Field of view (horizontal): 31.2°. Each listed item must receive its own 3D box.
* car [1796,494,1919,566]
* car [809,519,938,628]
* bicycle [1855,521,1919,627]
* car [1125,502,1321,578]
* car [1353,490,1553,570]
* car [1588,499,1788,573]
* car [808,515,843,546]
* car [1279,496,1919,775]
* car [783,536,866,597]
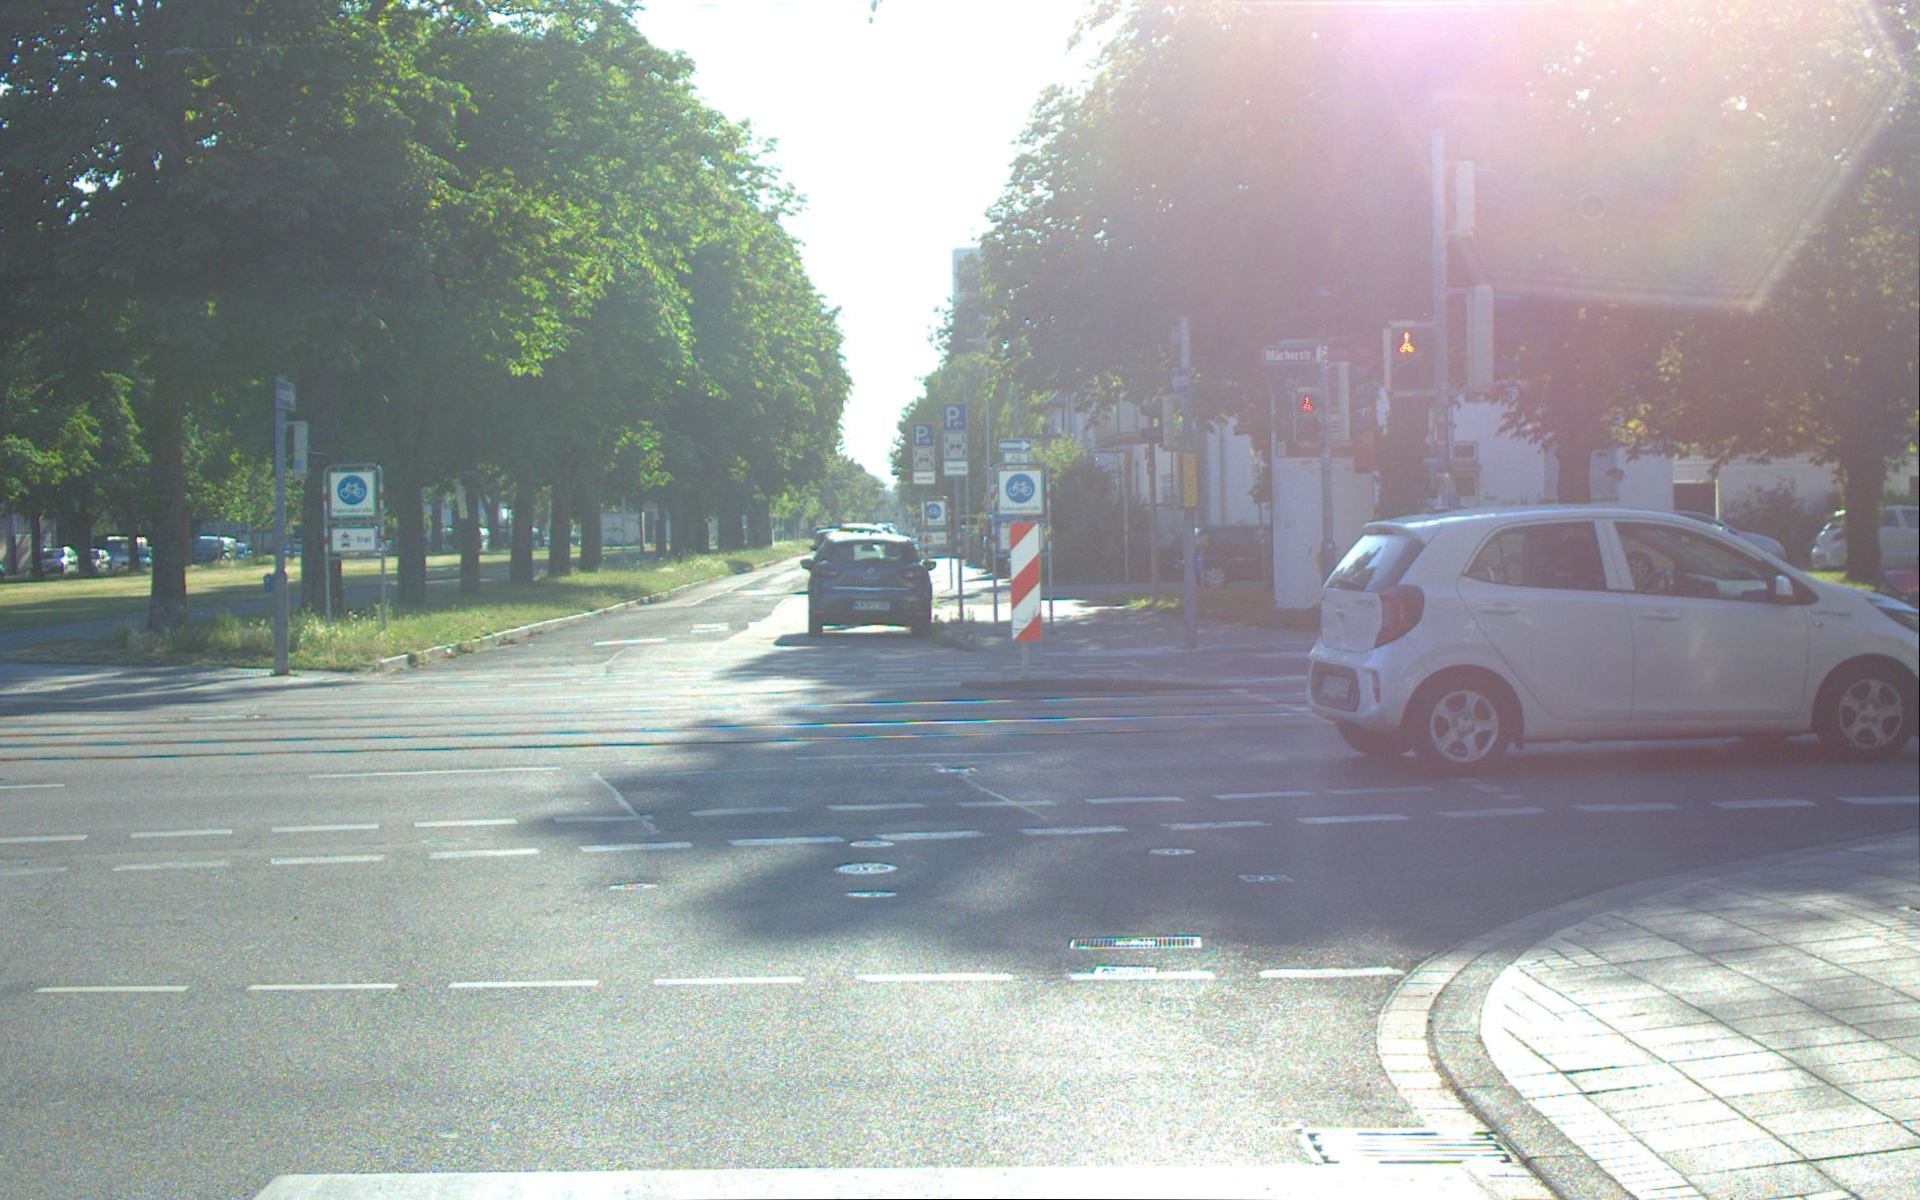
[{"bbox_3d":[19.221,-1.452,70.199,3.845,1.422,1.598,-1,1,-5],"label":"car"},{"bbox_3d":[-1.193,-0.400,48.440,1.641,1.446,3.307,-1,2,1],"label":"car"},{"bbox_3d":[10.745,-0.296,37.182,1.954,1.128,0.620,-1,1,2],"label":"bicycle"},{"bbox_3d":[5.291,-1.216,69.423,3.779,1.422,1.744,-1,3,-1],"label":"car"},{"bbox_3d":[9.968,-1.423,69.659,3.779,1.520,1.744,-1,3,-1],"label":"car"},{"bbox_3d":[14.706,-1.298,69.514,3.662,1.422,1.532,-1,1,-5],"label":"car"},{"bbox_3d":[-8.817,-4.588,226.250,2.134,2.007,3.902,-1,1,0],"label":"car"},{"bbox_3d":[3.867,0.162,19.774,3.685,1.483,1.742,-1,1,-12],"label":"car"},{"bbox_3d":[-3.236,-0.828,82.734,1.845,1.389,3.829,0,2,0],"label":"car"}]
